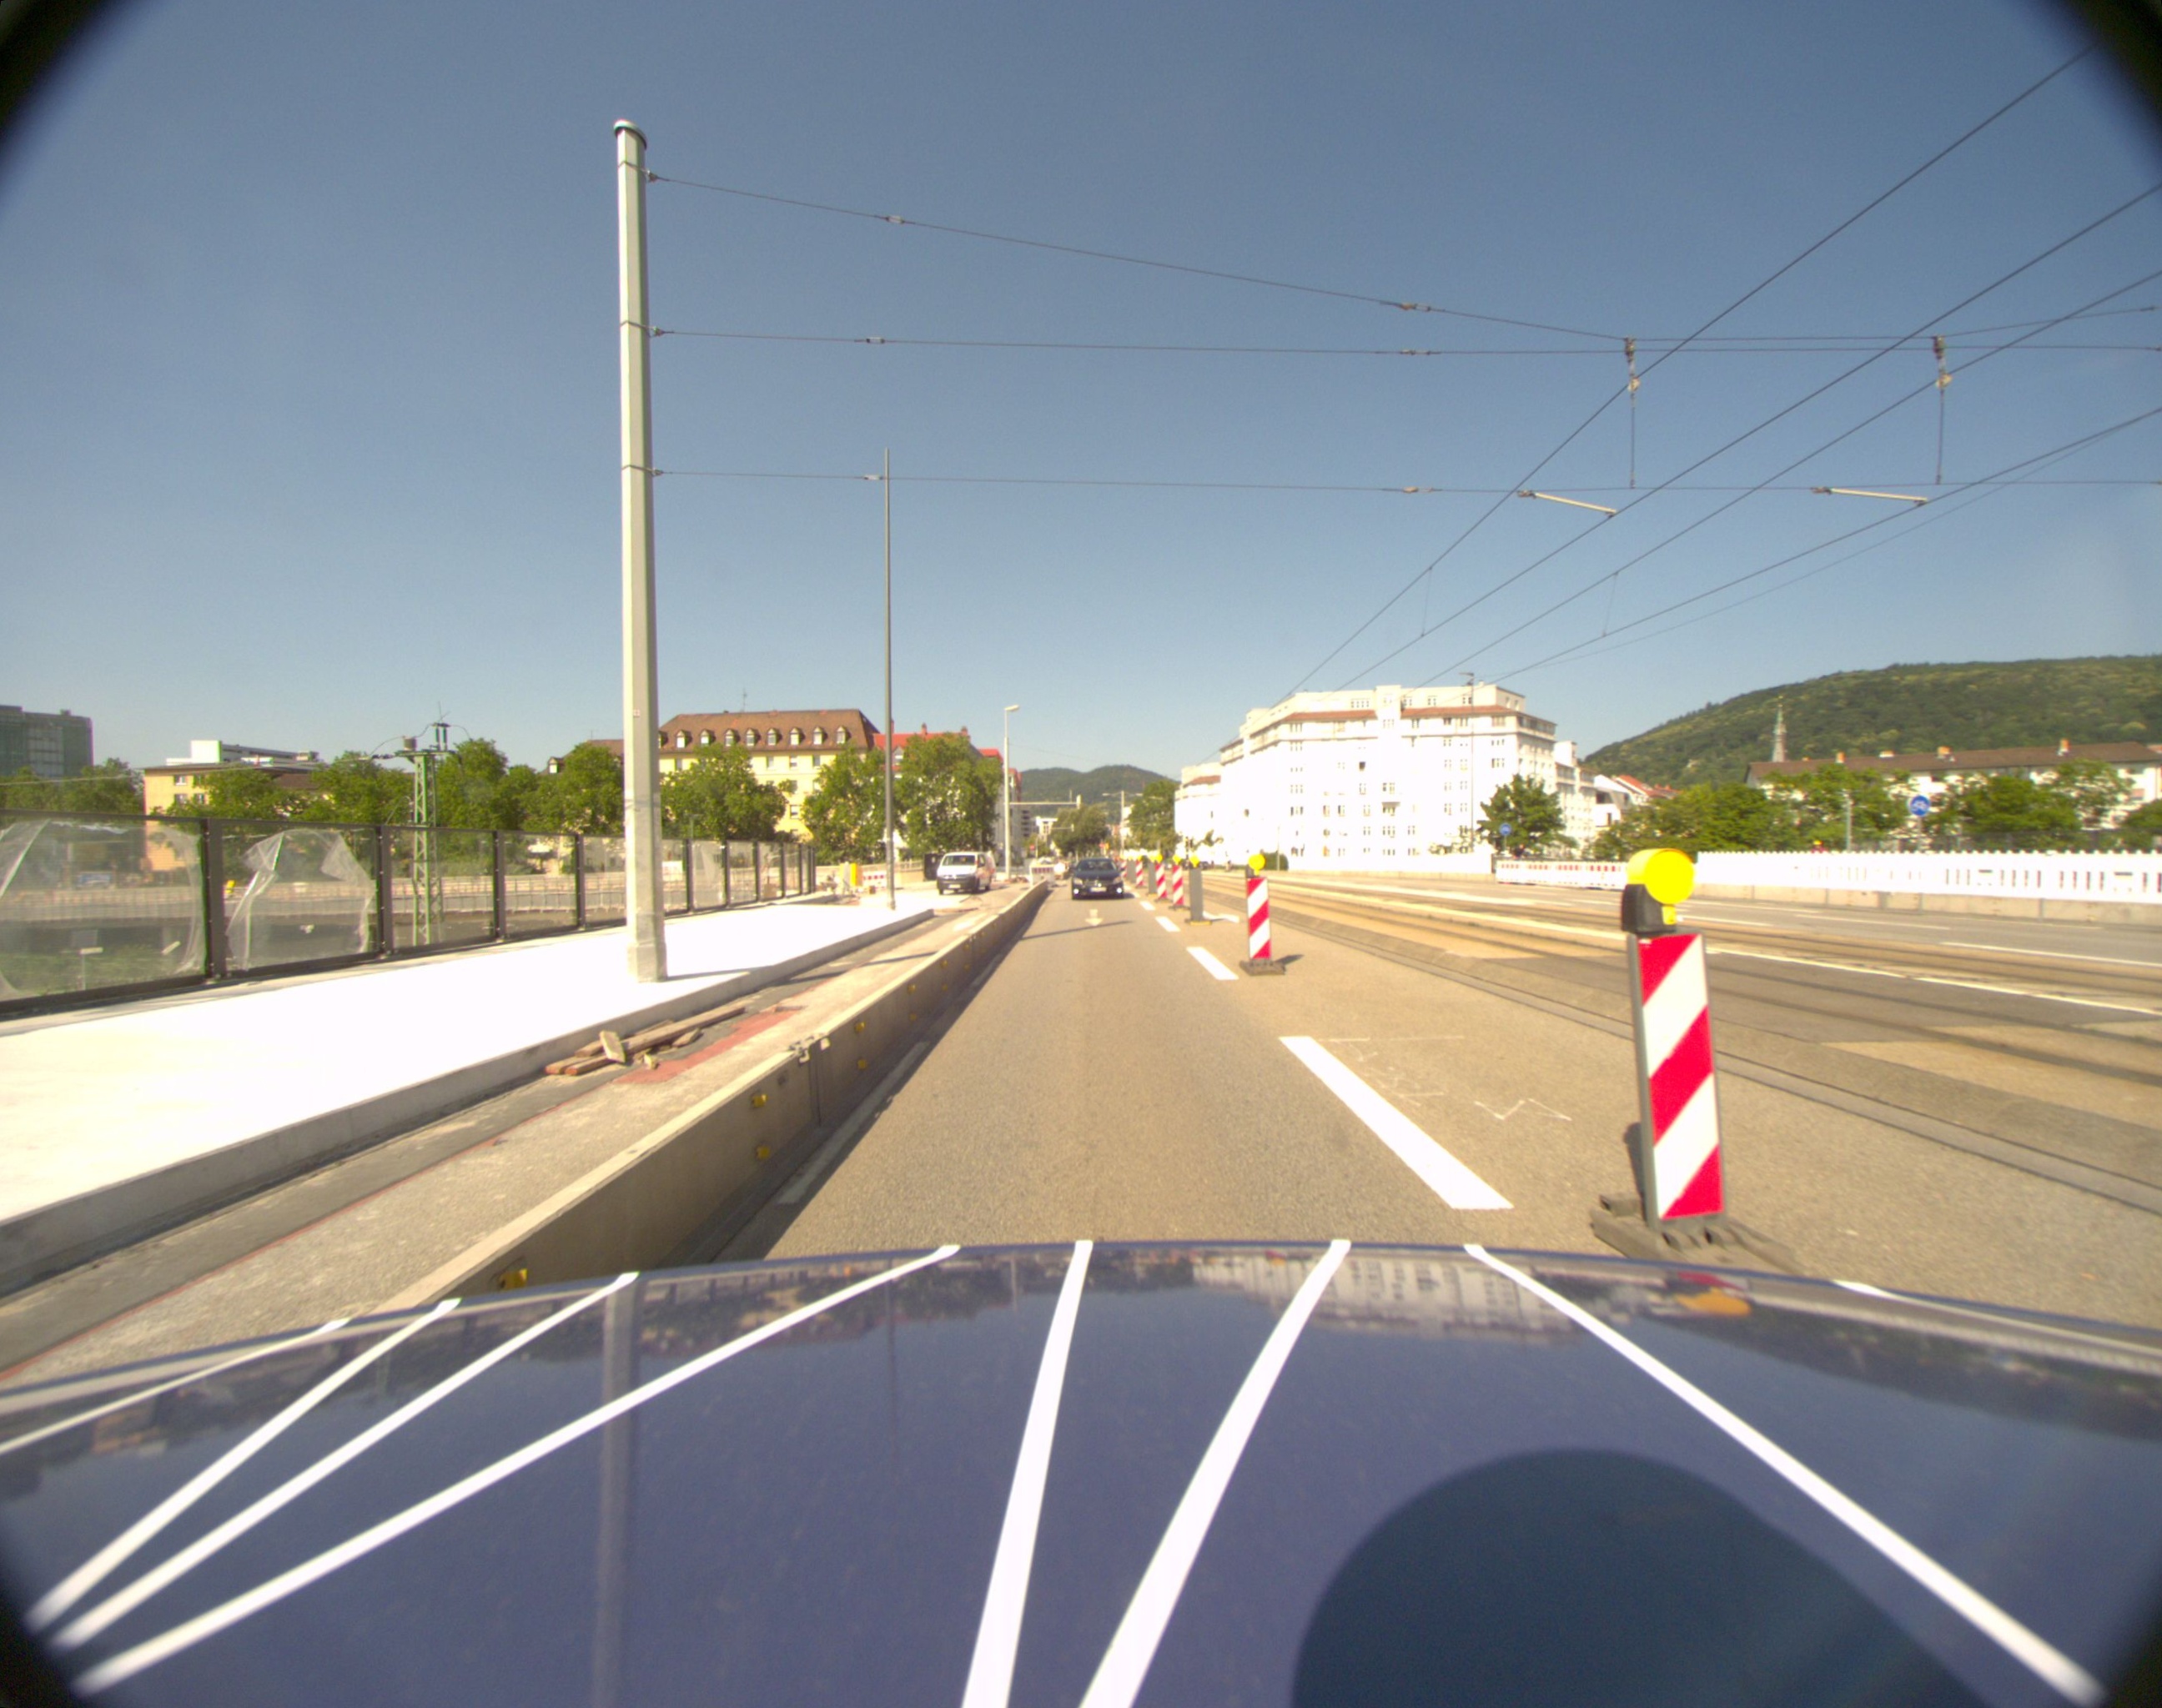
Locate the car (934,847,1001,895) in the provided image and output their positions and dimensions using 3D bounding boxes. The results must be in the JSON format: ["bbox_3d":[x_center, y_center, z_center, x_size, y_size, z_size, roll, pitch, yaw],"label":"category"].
[{"bbox_3d":[-5.395,0.777,37.061,1.938,2.078,6.472,-1,0,3],"label":"car"}]

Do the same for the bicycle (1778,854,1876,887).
[{"bbox_3d":[29.245,0.609,29.877,0.858,1.188,3.072,-2,1,0],"label":"bicycle"}]

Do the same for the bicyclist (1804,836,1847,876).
[{"bbox_3d":[29.227,0.067,29.834,0.858,1.510,0.817,-2,1,0],"label":"bicyclist"}]

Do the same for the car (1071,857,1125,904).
[{"bbox_3d":[0.591,0.858,26.629,1.698,1.388,4.362,-2,1,1],"label":"car"}]

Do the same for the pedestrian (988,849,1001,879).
[{"bbox_3d":[-5.828,0.648,51.166,0.761,1.973,0.843,1,1,1],"label":"pedestrian"}]
